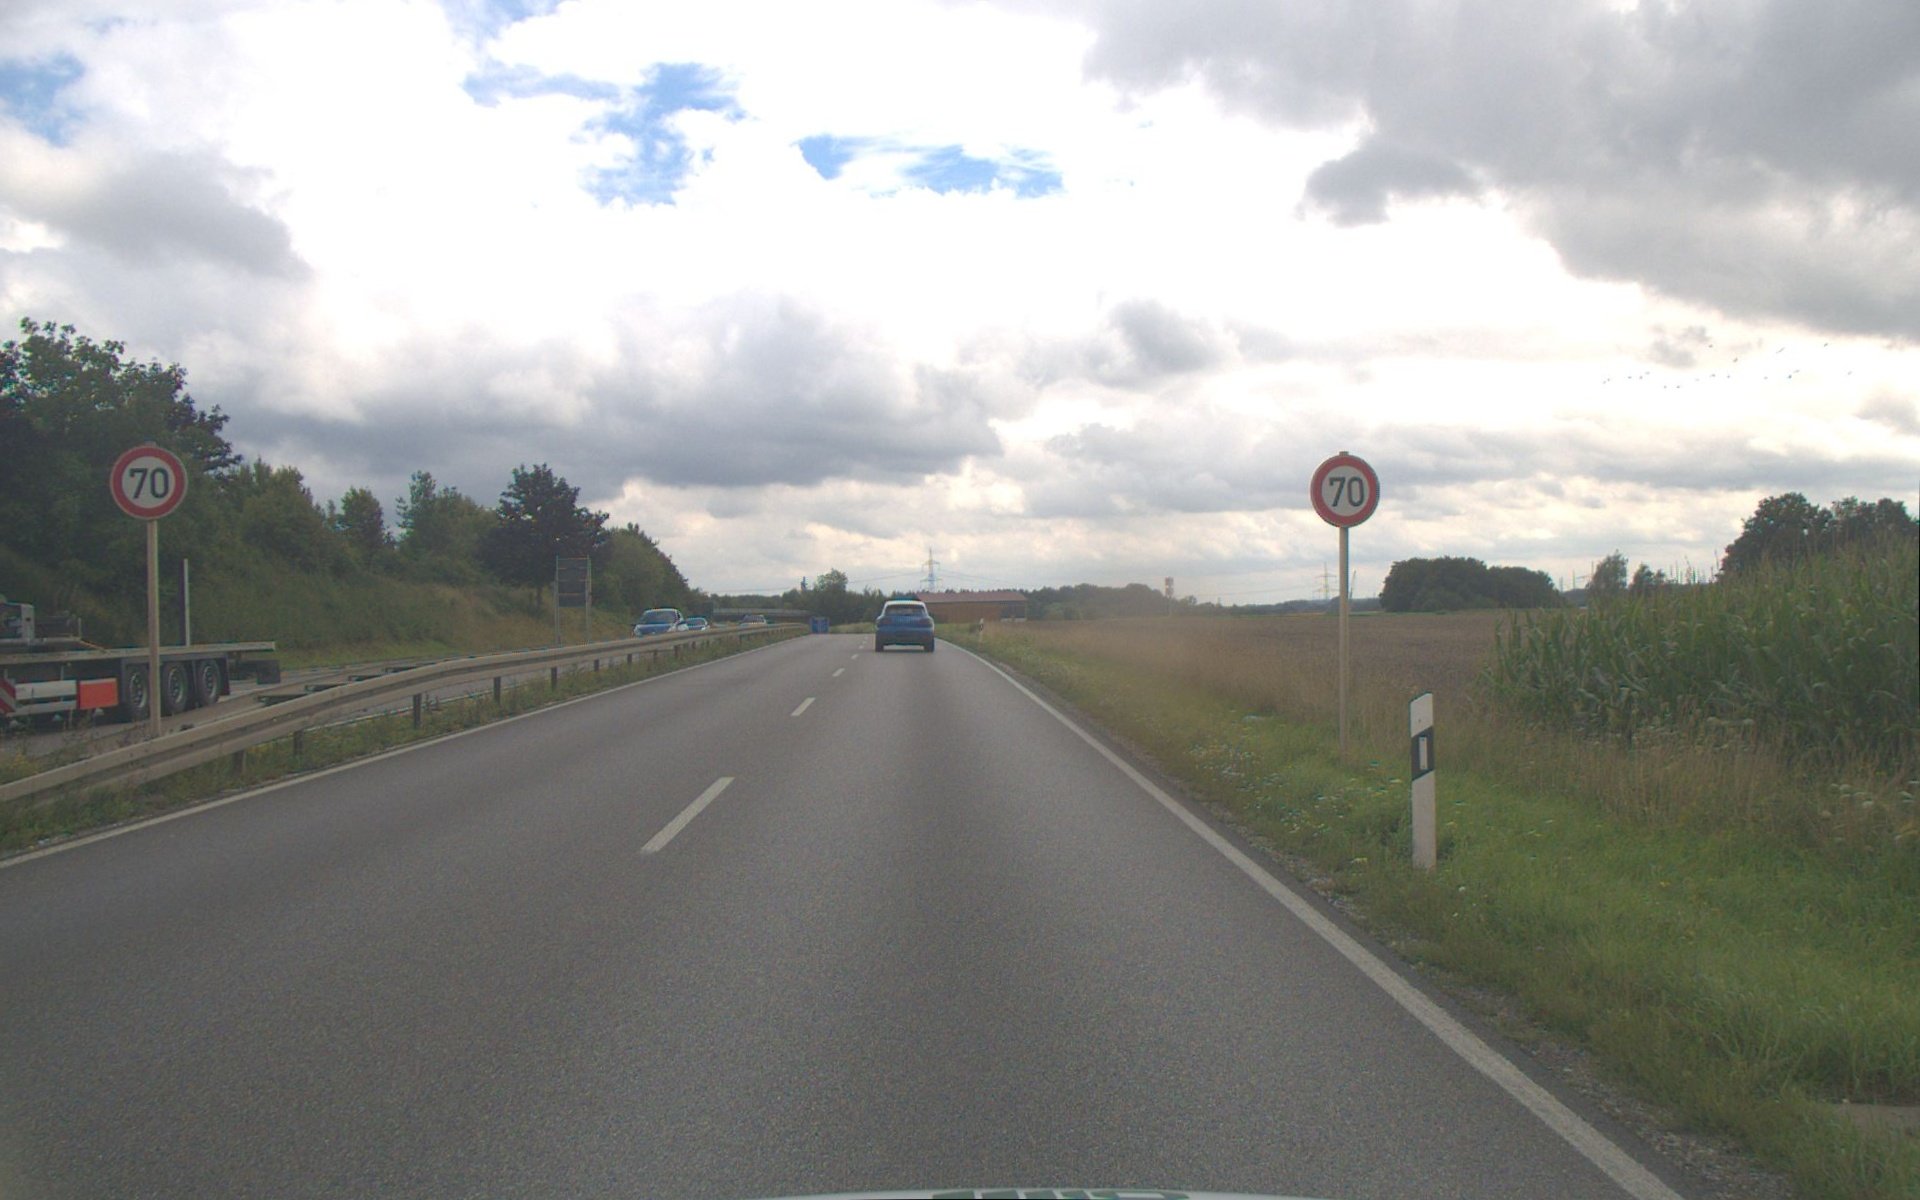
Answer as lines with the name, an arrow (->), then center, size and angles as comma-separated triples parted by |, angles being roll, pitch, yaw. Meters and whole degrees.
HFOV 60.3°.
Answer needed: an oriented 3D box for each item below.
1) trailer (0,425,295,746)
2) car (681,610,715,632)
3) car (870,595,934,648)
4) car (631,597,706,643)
trailer -> -13.518, -0.187, 24.285 | 2.719, 4.016, 12.979 | -1, 1, -2
car -> -17.342, 1.373, 109.564 | 1.657, 1.347, 4.415 | -1, 1, -2
car -> -1.909, 0.683, 54.337 | 1.992, 1.689, 4.541 | 0, 0, -2
car -> -10.553, 0.698, 60.201 | 2.043, 1.545, 4.192 | -1, 1, -1
